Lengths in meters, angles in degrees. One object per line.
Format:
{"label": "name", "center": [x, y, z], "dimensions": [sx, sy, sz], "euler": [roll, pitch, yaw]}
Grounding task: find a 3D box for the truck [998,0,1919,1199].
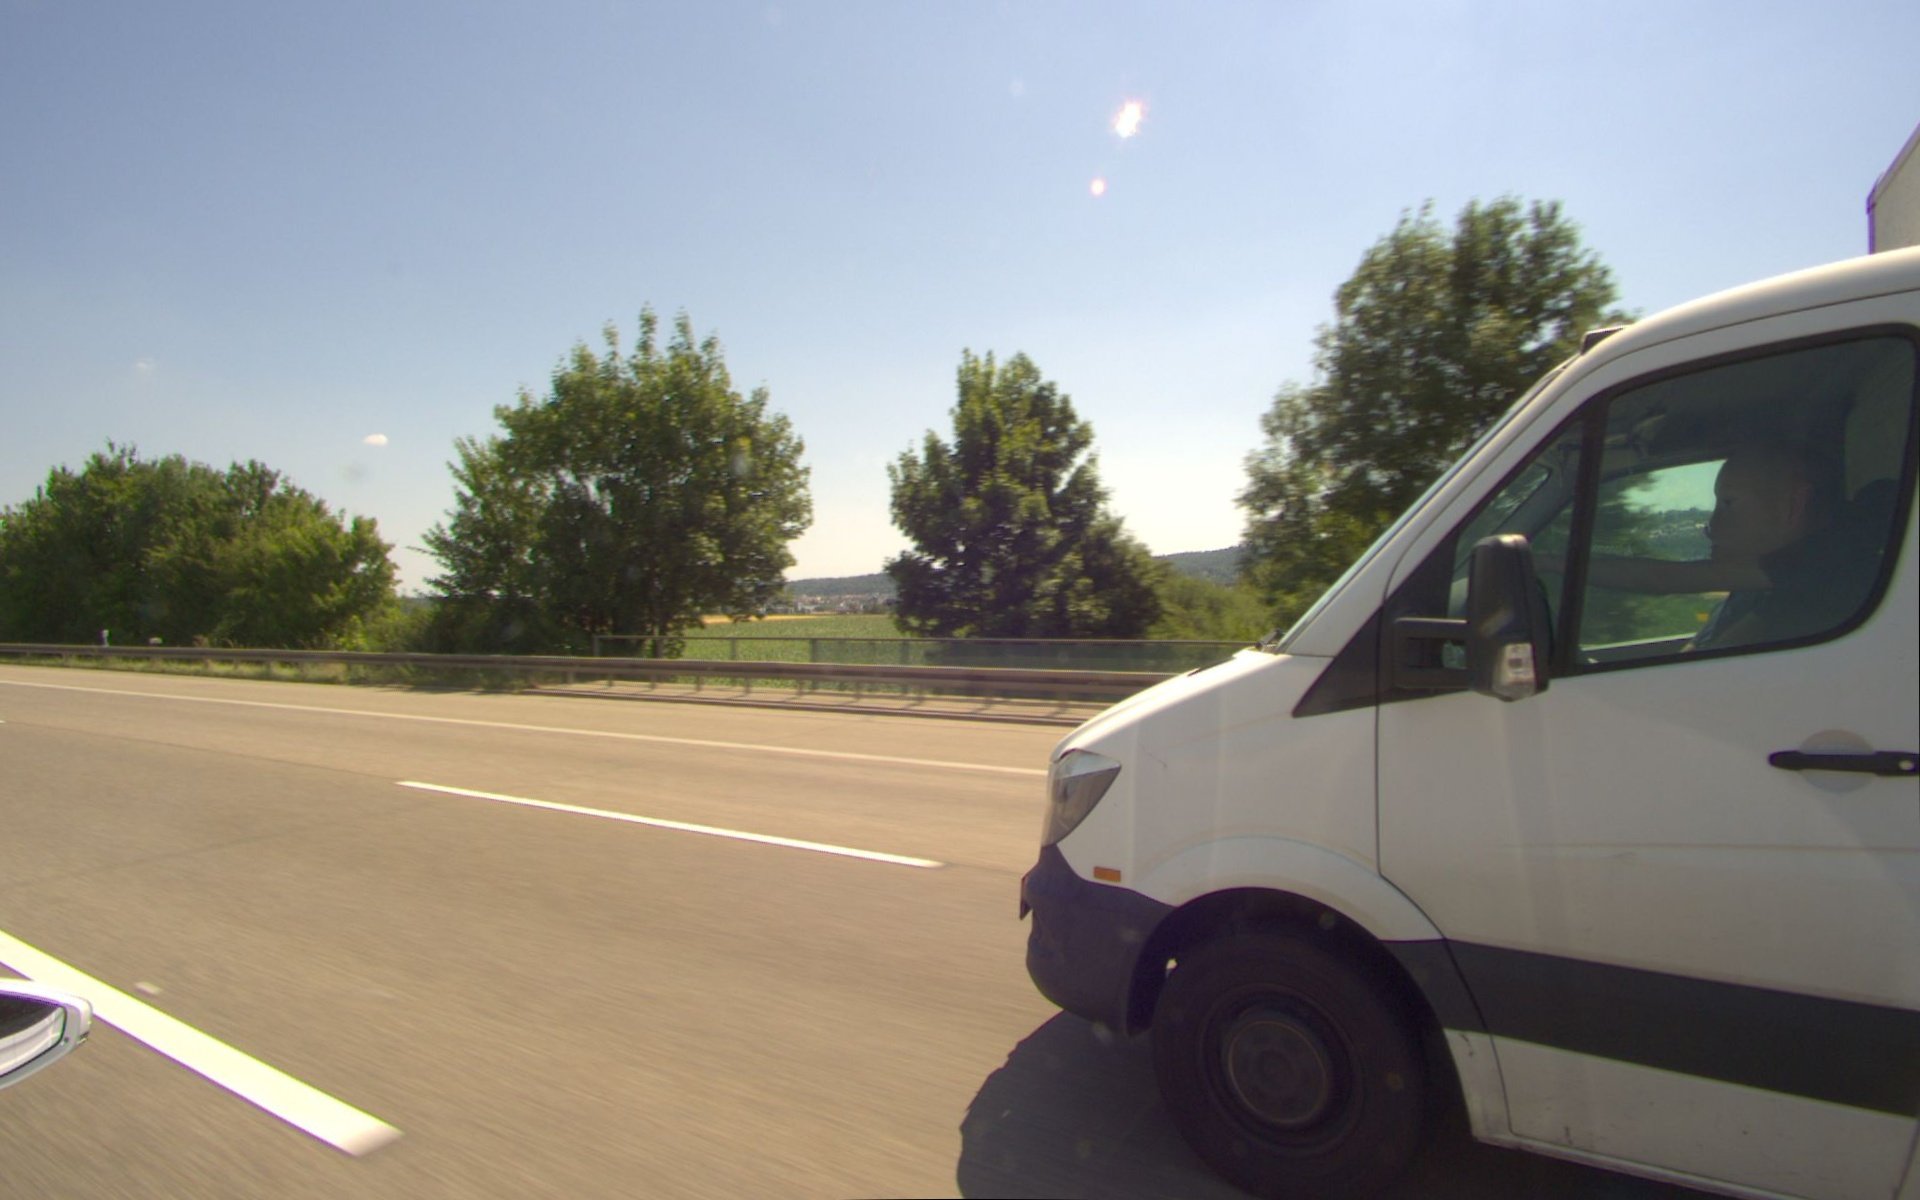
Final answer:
{"label": "truck", "center": [3.530, -0.012, 1.989], "dimensions": [6.654, 3.107, 2.317], "euler": [0, -1, 32]}
